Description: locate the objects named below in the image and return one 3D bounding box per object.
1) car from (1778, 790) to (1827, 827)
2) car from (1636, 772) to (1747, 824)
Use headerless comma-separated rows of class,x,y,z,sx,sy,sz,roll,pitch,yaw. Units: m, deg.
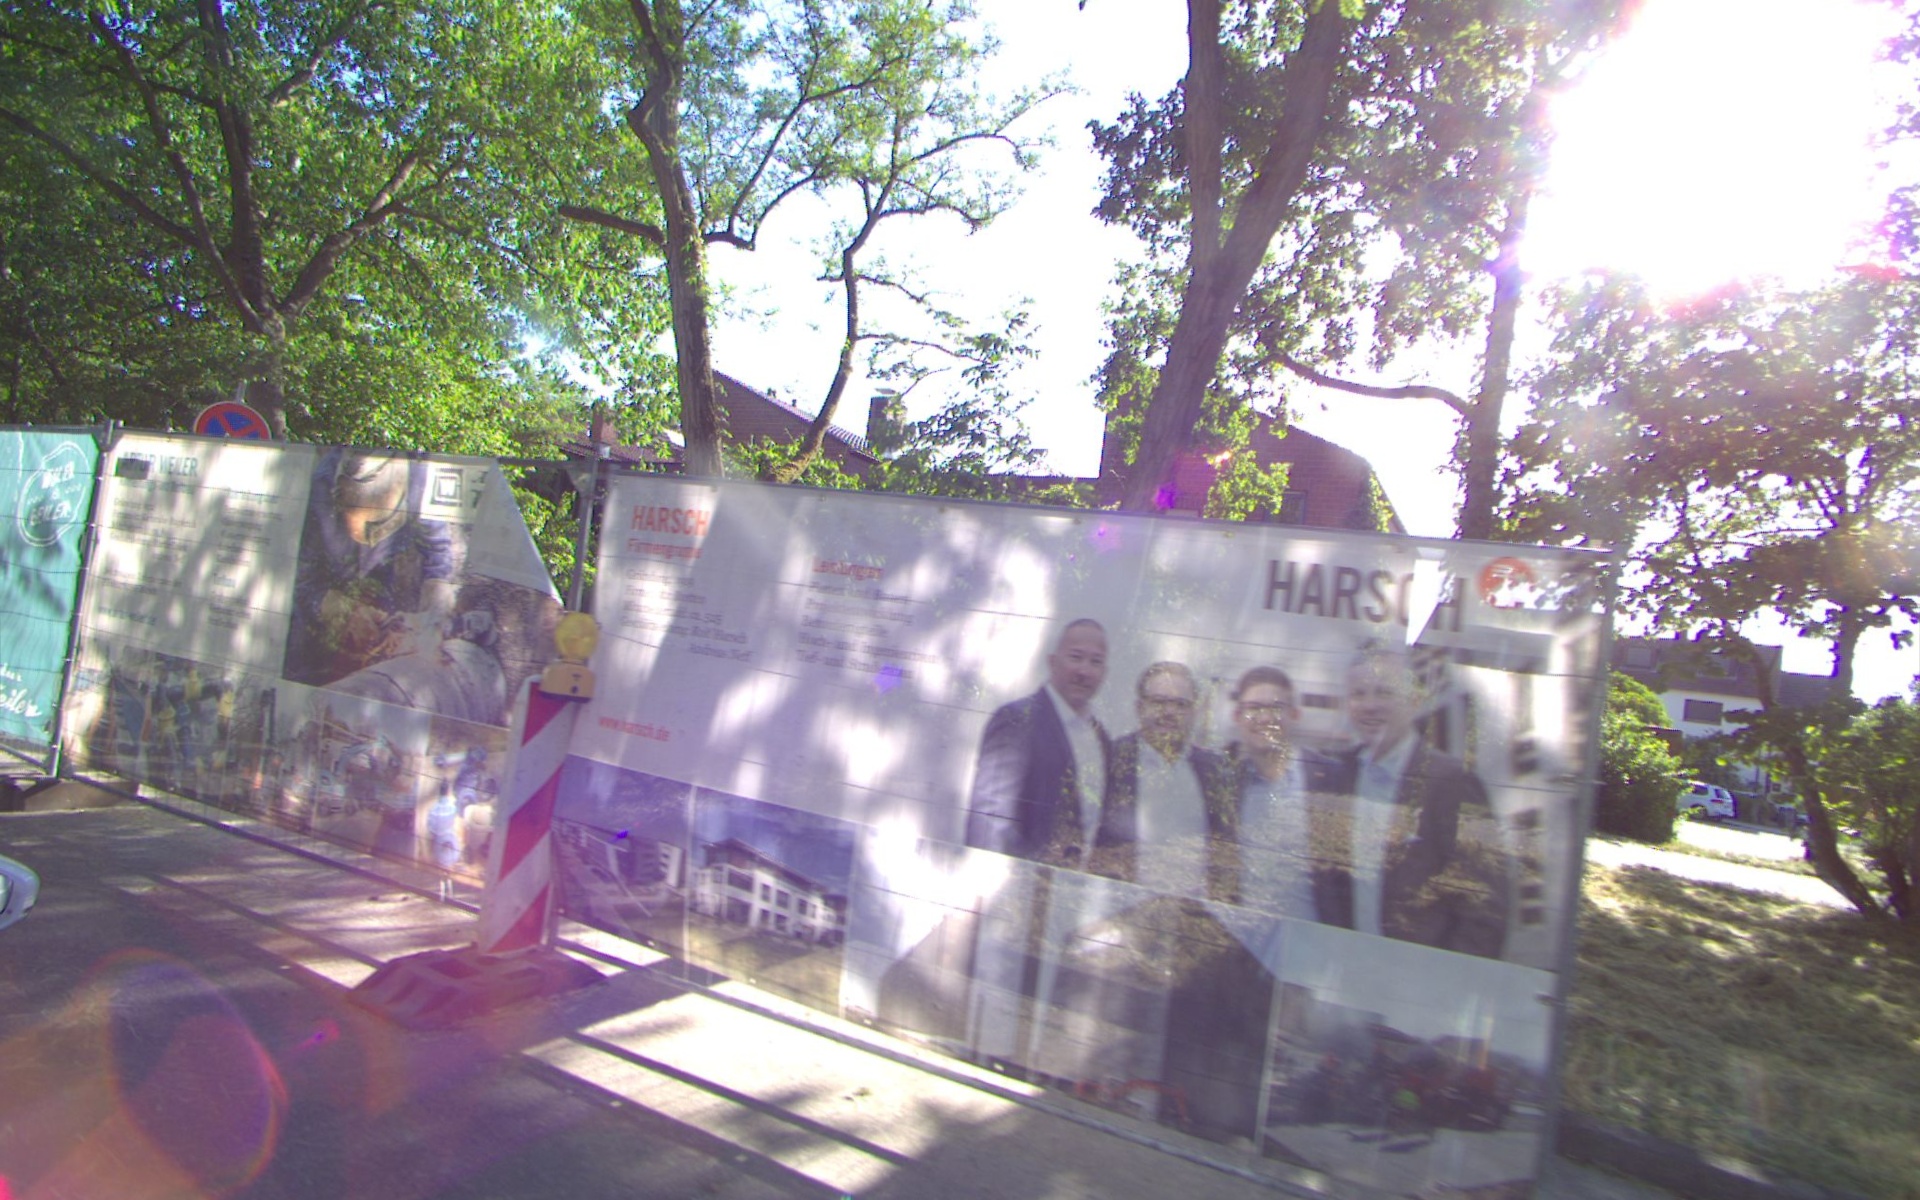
car,42.157,10.438,50.309,3.622,1.514,1.433,12,-4,-44
car,33.802,9.138,46.577,1.790,1.633,3.620,10,-3,-25
